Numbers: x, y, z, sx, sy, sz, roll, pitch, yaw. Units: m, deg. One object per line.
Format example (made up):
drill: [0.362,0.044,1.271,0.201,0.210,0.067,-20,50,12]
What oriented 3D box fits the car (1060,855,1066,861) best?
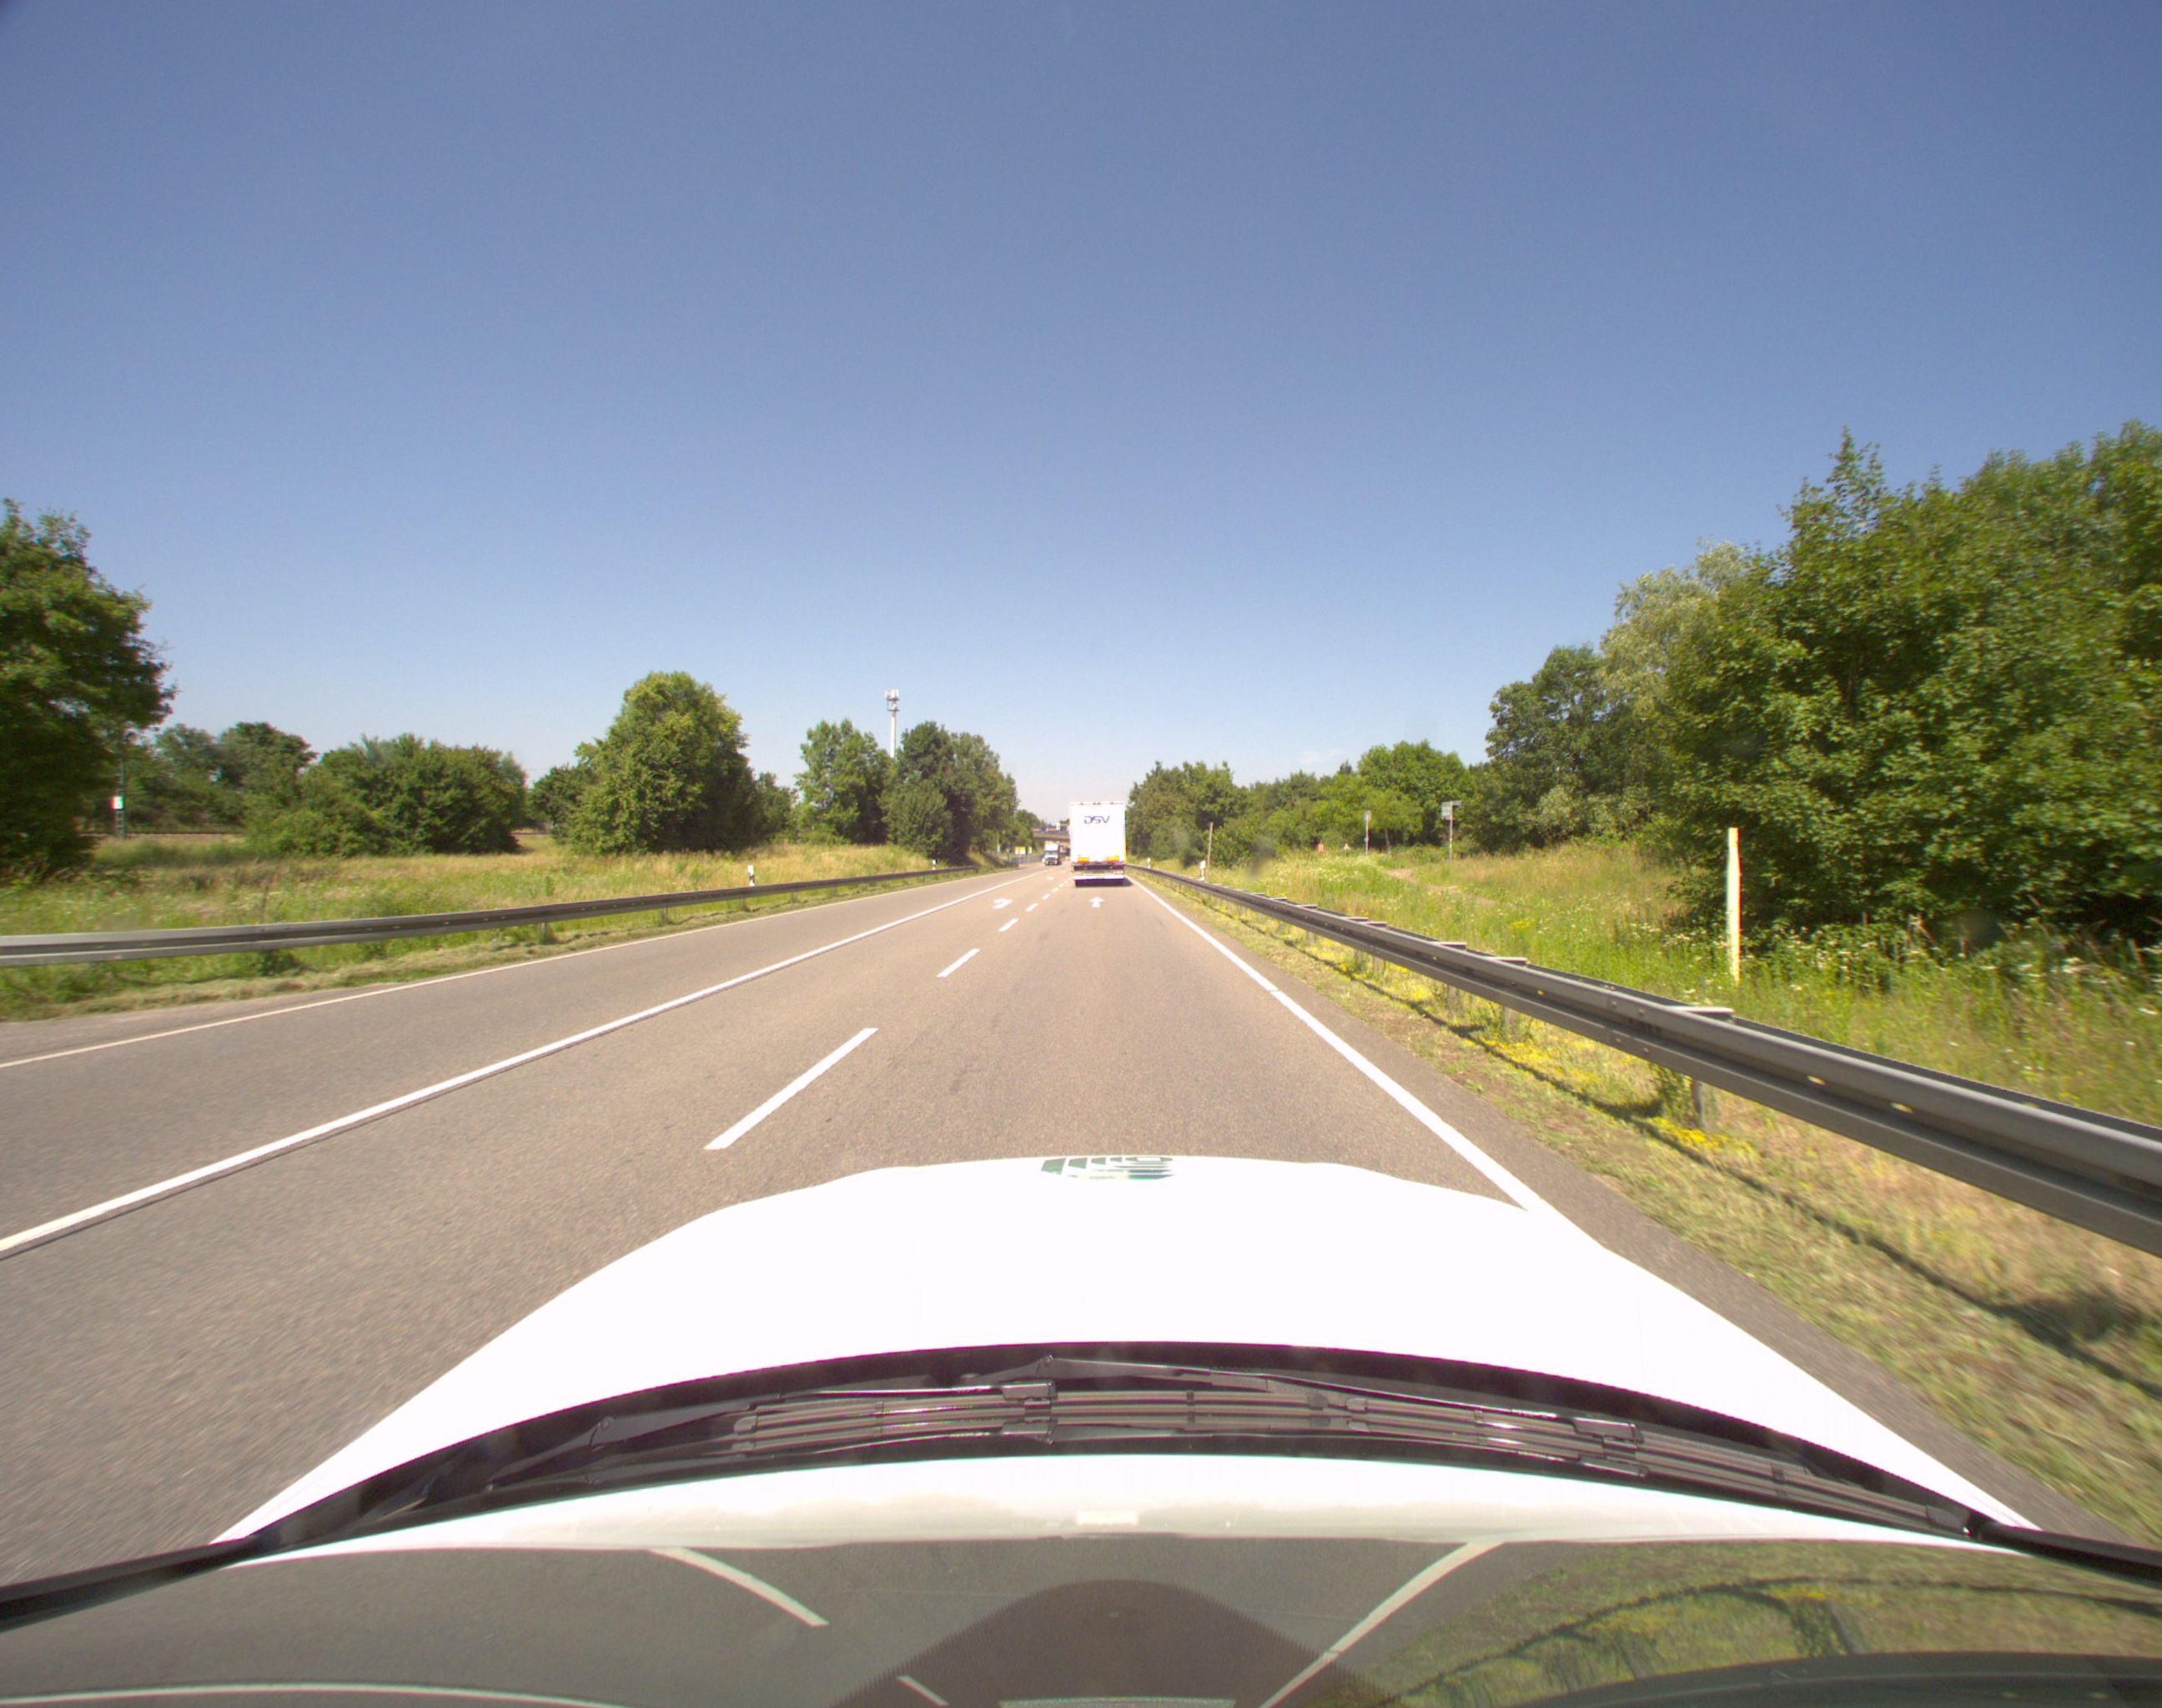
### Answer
car: [-5.608,1.268,256.291,1.741,1.626,3.702,-1,0,0]

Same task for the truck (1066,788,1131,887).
truck: [0.975,-0.743,42.694,2.939,4.568,9.866,-1,0,2]

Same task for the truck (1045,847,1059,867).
truck: [-5.744,0.564,162.709,2.345,3.750,12.624,-1,0,0]
